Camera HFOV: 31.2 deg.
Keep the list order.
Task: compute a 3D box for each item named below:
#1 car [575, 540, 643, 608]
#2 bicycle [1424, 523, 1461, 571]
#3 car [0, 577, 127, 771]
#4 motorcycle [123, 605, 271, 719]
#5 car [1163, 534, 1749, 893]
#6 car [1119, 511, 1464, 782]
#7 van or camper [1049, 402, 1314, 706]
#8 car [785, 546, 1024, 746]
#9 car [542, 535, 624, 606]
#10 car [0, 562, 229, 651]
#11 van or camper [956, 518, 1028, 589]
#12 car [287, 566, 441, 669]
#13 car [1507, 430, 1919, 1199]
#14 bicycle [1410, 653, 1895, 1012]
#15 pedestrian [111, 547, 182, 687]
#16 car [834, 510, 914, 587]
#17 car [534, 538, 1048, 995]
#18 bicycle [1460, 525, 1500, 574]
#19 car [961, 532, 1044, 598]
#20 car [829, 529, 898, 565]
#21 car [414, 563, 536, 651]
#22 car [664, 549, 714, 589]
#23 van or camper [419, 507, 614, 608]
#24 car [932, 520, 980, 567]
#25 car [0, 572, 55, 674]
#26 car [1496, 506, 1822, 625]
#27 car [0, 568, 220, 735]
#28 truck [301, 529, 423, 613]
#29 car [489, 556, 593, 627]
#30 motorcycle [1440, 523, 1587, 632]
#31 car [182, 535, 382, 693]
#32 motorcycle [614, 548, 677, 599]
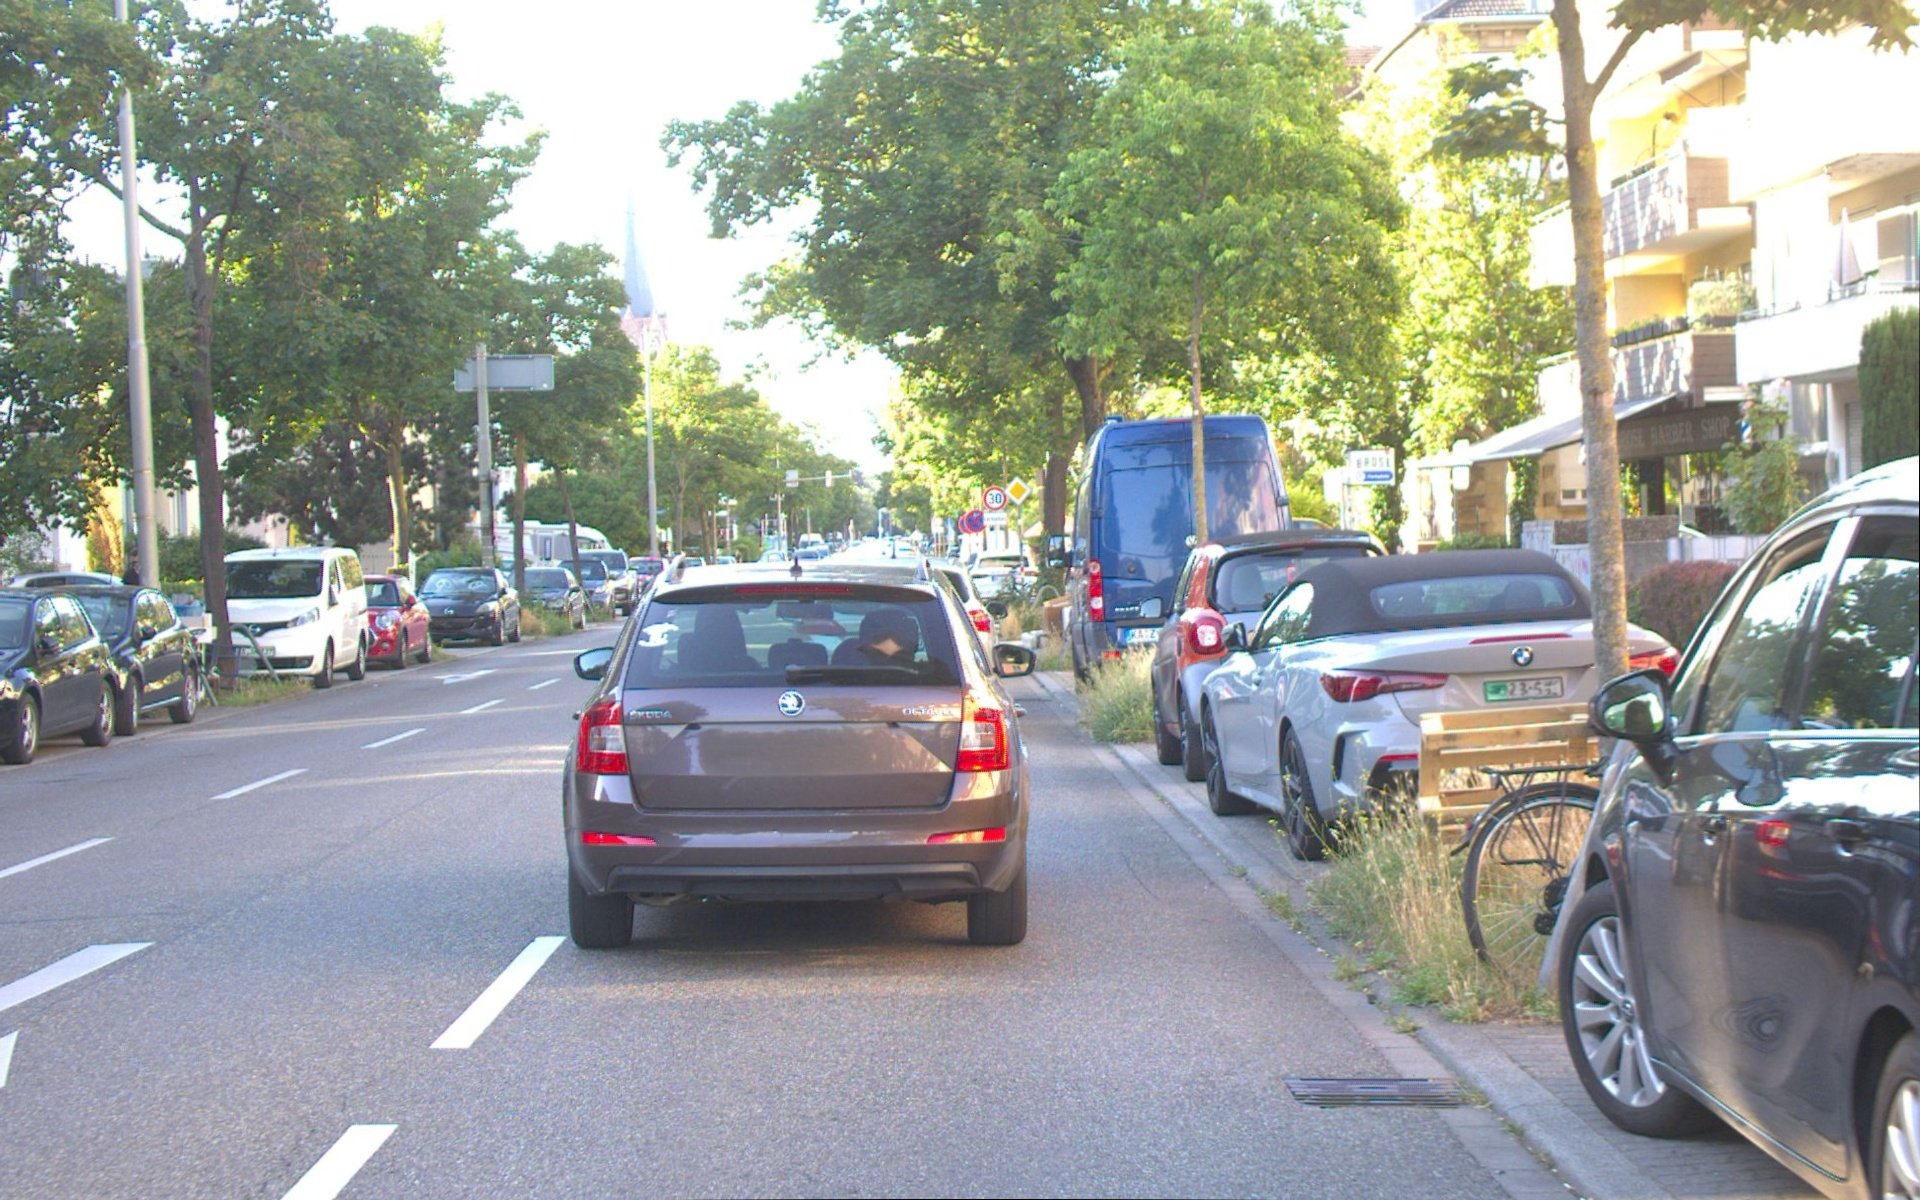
[{"bbox_3d":[-9.589,-0.730,94.106,1.507,1.751,3.694,-2,2,-1],"label":"car"},{"bbox_3d":[9.734,-1.068,69.331,0.342,0.947,1.582,1,1,-6],"label":"bicycle"},{"bbox_3d":[-8.687,0.616,30.138,1.750,1.497,4.197,-2,2,-1],"label":"car"},{"bbox_3d":[-8.560,0.688,38.637,0.441,1.188,1.703,-1,2,37],"label":"motorcycle"},{"bbox_3d":[2.328,0.451,17.479,1.920,1.481,4.747,-2,2,-4],"label":"car"},{"bbox_3d":[2.161,0.272,23.356,1.772,1.636,3.758,-2,1,-3],"label":"car"},{"bbox_3d":[2.070,-0.443,33.954,2.067,2.666,5.990,-2,1,-1],"label":"van or camper"},{"bbox_3d":[-0.535,0.331,29.207,1.729,1.488,3.951,-2,2,-5],"label":"car"},{"bbox_3d":[-9.790,-0.792,89.435,1.750,1.734,3.591,-2,2,-1],"label":"car"},{"bbox_3d":[-15.336,0.104,61.891,3.986,1.474,2.000,-1,1,-4],"label":"car"},{"bbox_3d":[0.942,-1.420,103.500,1.993,2.006,4.000,-2,2,-1],"label":"van or camper"},{"bbox_3d":[-9.122,0.237,52.855,1.717,1.416,3.787,-2,2,-1],"label":"car"},{"bbox_3d":[2.367,0.487,6.945,1.732,1.645,4.292,-2,2,-1],"label":"car"},{"bbox_3d":[2.245,0.735,11.152,1.476,1.055,0.412,-2,1,-13],"label":"bicycle"},{"bbox_3d":[-11.920,0.239,50.399,0.767,2.007,0.976,-2,1,-1],"label":"pedestrian"},{"bbox_3d":[-1.942,-1.192,78.193,1.732,1.645,3.542,-2,2,-1],"label":"car"},{"bbox_3d":[-0.567,0.542,13.835,1.729,1.488,3.951,-2,2,1],"label":"car"},{"bbox_3d":[10.392,-1.005,68.738,0.342,0.947,1.582,-4,1,-6],"label":"bicycle"},{"bbox_3d":[0.999,-0.829,79.432,1.821,1.408,4.111,-2,2,1],"label":"car"},{"bbox_3d":[-5.059,-2.802,180.556,1.879,1.751,4.173,-1,2,26],"label":"car"},{"bbox_3d":[-9.117,0.111,64.937,1.717,1.492,4.248,-2,2,-1],"label":"car"},{"bbox_3d":[-10.348,-1.190,131.414,1.664,1.427,3.275,-2,2,-1],"label":"car"},{"bbox_3d":[-18.116,-1.741,140.553,7.639,3.861,2.000,-2,1,-2],"label":"van or camper"},{"bbox_3d":[-0.157,-2.301,139.275,1.729,1.809,3.951,-2,2,-2],"label":"car"},{"bbox_3d":[-15.043,0.381,47.700,4.709,1.358,2.001,-2,2,-13],"label":"car"},{"bbox_3d":[9.497,-0.490,46.887,3.986,1.457,1.825,-2,1,-4],"label":"car"},{"bbox_3d":[-8.850,0.487,35.081,1.750,1.497,3.979,-2,2,-1],"label":"car"},{"bbox_3d":[-15.792,-0.778,90.830,2.913,2.086,1.546,-2,1,-1],"label":"truck"},{"bbox_3d":[-9.259,-0.211,76.262,1.754,1.415,4.426,-2,2,0],"label":"car"},{"bbox_3d":[8.658,-0.354,53.832,2.195,1.615,0.731,-2,1,6],"label":"motorcycle"},{"bbox_3d":[-8.962,0.139,45.775,1.770,1.912,4.460,-2,2,-1],"label":"car"},{"bbox_3d":[-9.567,-0.789,104.469,0.764,1.506,2.029,-3,2,-43],"label":"motorcycle"}]
